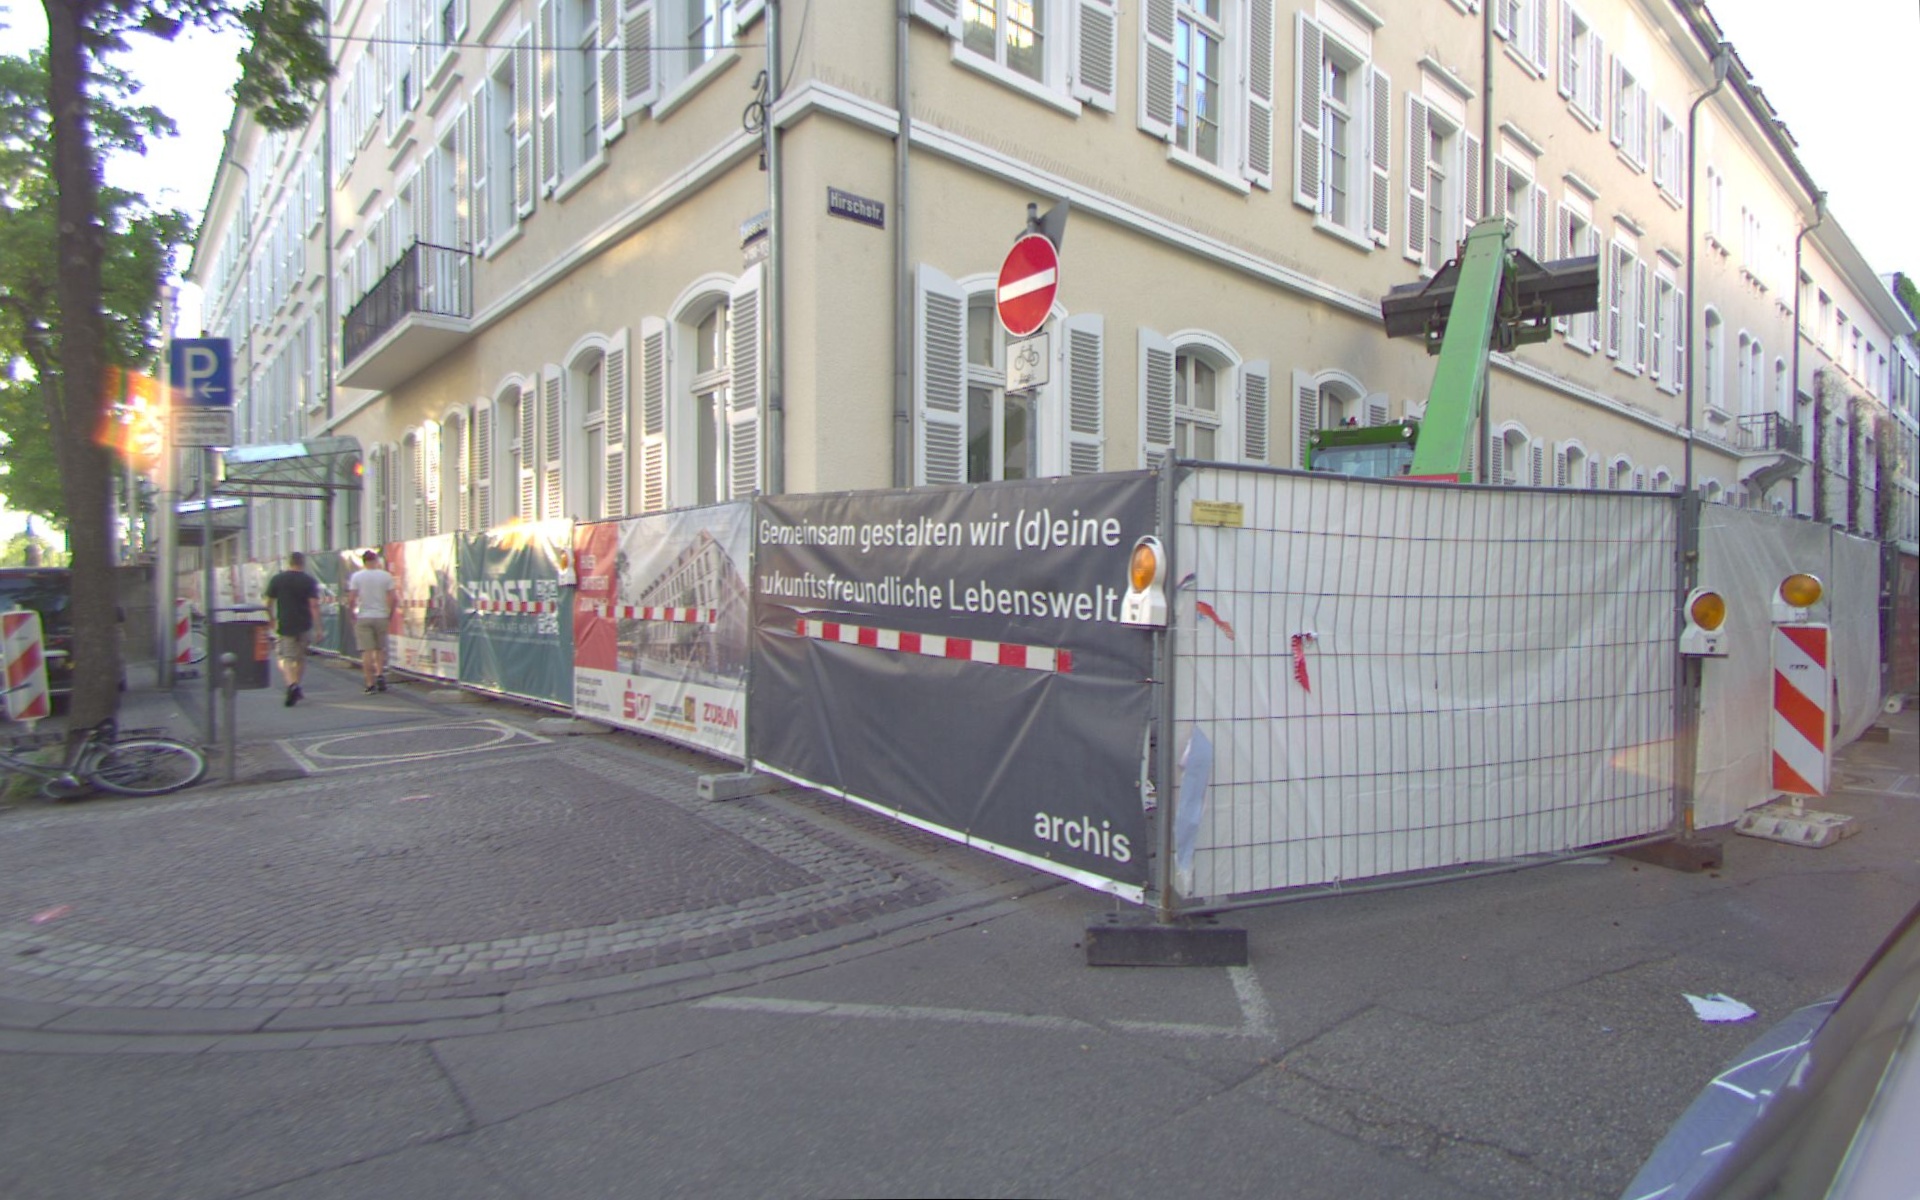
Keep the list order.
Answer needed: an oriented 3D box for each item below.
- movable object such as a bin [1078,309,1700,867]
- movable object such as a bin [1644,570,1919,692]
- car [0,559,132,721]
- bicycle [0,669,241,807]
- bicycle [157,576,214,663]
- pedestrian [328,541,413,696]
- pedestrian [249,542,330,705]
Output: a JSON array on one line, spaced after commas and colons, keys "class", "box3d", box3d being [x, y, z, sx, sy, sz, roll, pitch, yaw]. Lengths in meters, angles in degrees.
[{"class": "movable object such as a bin", "box3d": [3.730, -0.116, 8.138, 5.472, 2.908, 2.638, -1, 2, -44]}, {"class": "movable object such as a bin", "box3d": [14.522, 0.389, 17.518, 7.170, 1.685, 2.894, 0, 1, -43]}, {"class": "car", "box3d": [-11.898, 0.431, 12.992, 1.742, 1.786, 3.875, -4, 3, -37]}, {"class": "bicycle", "box3d": [-6.538, 0.975, 7.246, 1.326, 0.715, 2.046, 1, 2, 43]}, {"class": "bicycle", "box3d": [-14.969, 0.346, 19.528, 0.692, 1.570, 2.180, -3, 2, -41]}, {"class": "pedestrian", "box3d": [-7.649, 0.211, 13.126, 0.746, 1.907, 0.879, -3, 3, -40]}, {"class": "pedestrian", "box3d": [-8.208, 0.262, 12.391, 0.668, 1.907, 0.768, -3, 3, -40]}]
